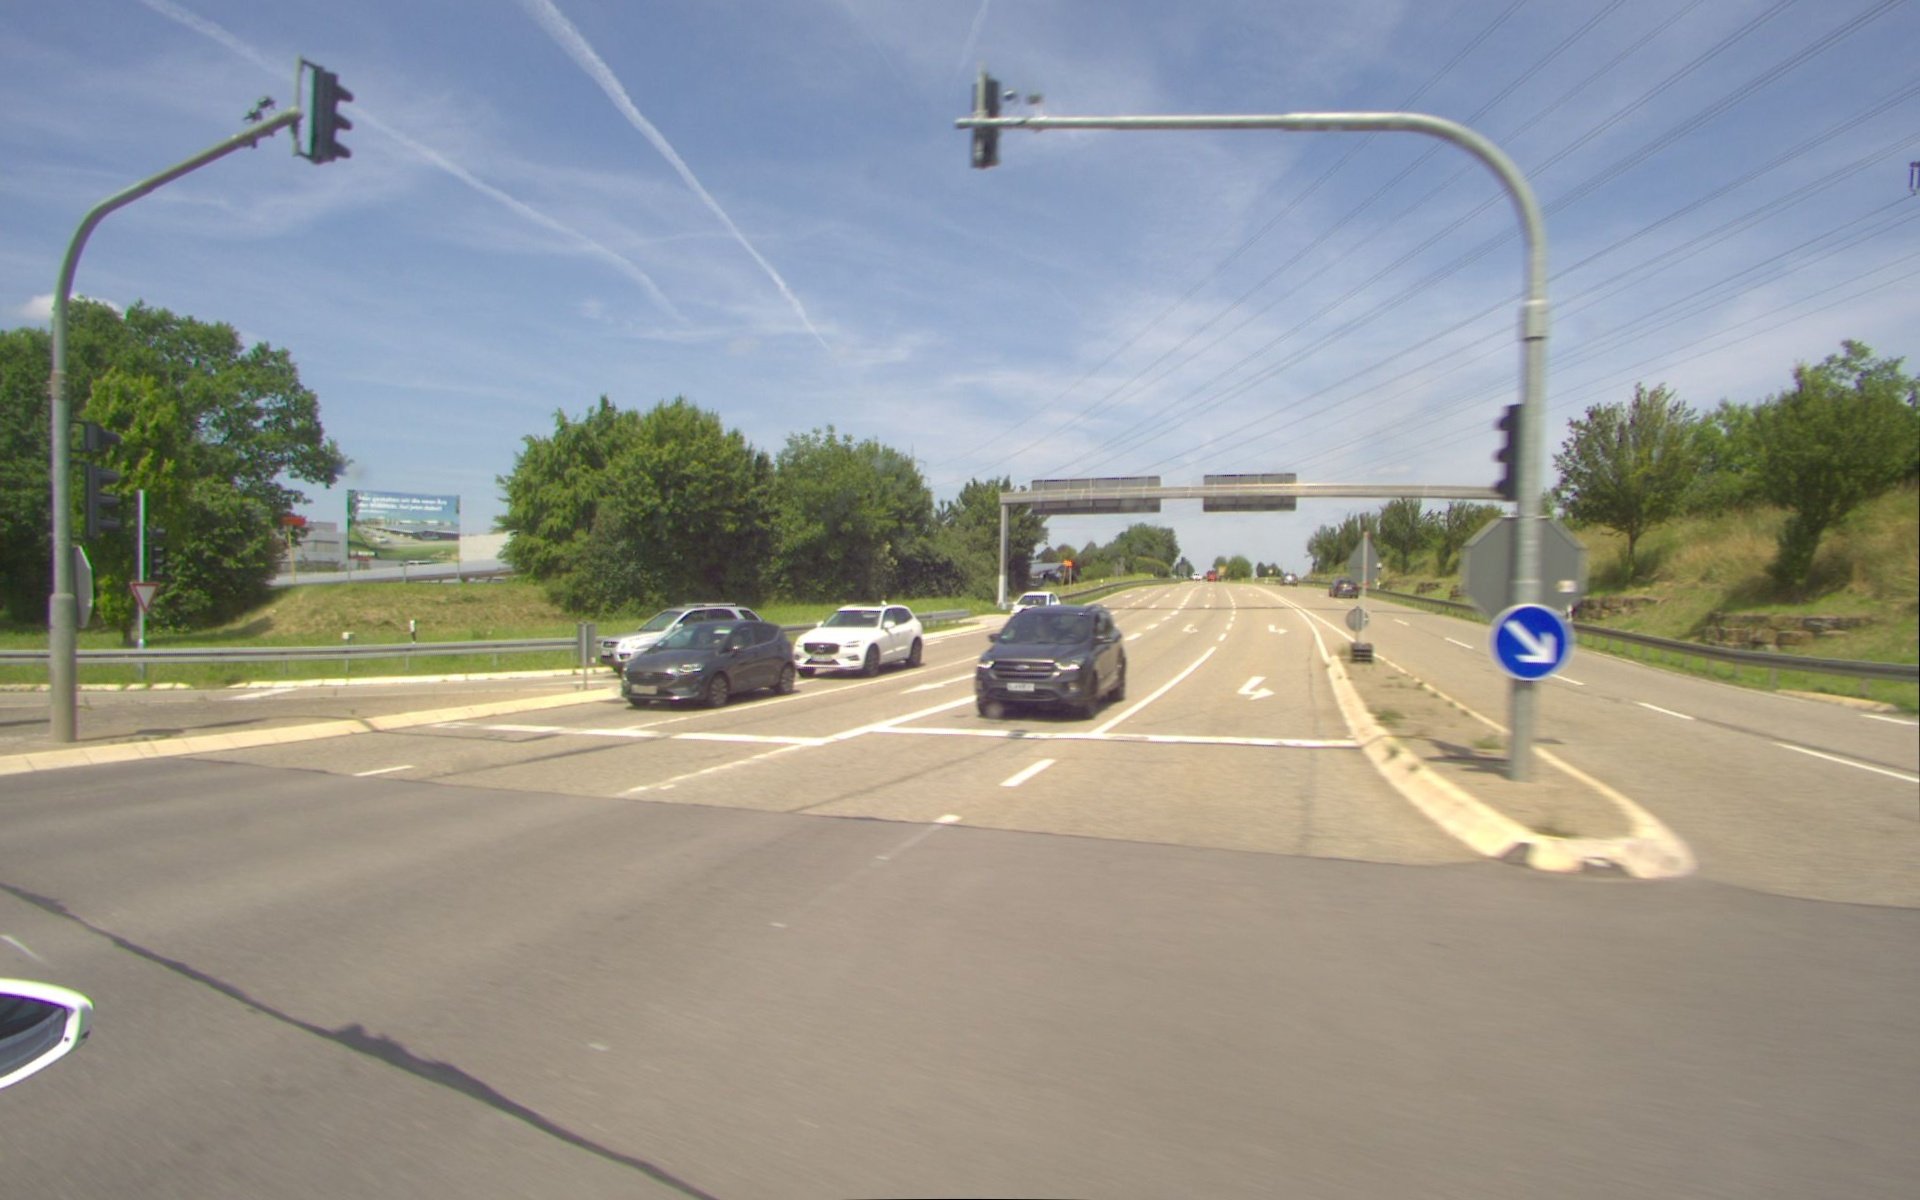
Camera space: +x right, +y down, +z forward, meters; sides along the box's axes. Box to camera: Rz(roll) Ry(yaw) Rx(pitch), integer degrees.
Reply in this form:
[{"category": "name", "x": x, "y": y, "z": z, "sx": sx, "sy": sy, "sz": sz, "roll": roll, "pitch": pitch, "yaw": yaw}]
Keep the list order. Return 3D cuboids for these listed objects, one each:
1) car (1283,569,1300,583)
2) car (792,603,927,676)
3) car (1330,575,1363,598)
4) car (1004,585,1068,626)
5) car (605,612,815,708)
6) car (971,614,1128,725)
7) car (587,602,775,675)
[{"category": "car", "x": 39.261, "y": -2.821, "z": 118.776, "sx": 1.719, "sy": 1.554, "sz": 4.288, "roll": 1, "pitch": 3, "yaw": 16}, {"category": "car", "x": -2.382, "y": 0.911, "z": 24.910, "sx": 1.748, "sy": 1.613, "sz": 4.364, "roll": 0, "pitch": 0, "yaw": 18}, {"category": "car", "x": 29.630, "y": -1.072, "z": 76.876, "sx": 1.719, "sy": 1.554, "sz": 4.290, "roll": 2, "pitch": 3, "yaw": 14}, {"category": "car", "x": 3.386, "y": 0.219, "z": 43.982, "sx": 1.750, "sy": 1.622, "sz": 3.989, "roll": 0, "pitch": 2, "yaw": 20}, {"category": "car", "x": -4.394, "y": 1.019, "z": 18.230, "sx": 1.687, "sy": 1.530, "sz": 3.990, "roll": -1, "pitch": -1, "yaw": 22}, {"category": "car", "x": 1.614, "y": 1.019, "z": 16.443, "sx": 1.685, "sy": 1.530, "sz": 4.365, "roll": -1, "pitch": 0, "yaw": 17}, {"category": "car", "x": -7.064, "y": 0.930, "z": 25.664, "sx": 1.818, "sy": 1.677, "sz": 4.332, "roll": -2, "pitch": -1, "yaw": 44}]
